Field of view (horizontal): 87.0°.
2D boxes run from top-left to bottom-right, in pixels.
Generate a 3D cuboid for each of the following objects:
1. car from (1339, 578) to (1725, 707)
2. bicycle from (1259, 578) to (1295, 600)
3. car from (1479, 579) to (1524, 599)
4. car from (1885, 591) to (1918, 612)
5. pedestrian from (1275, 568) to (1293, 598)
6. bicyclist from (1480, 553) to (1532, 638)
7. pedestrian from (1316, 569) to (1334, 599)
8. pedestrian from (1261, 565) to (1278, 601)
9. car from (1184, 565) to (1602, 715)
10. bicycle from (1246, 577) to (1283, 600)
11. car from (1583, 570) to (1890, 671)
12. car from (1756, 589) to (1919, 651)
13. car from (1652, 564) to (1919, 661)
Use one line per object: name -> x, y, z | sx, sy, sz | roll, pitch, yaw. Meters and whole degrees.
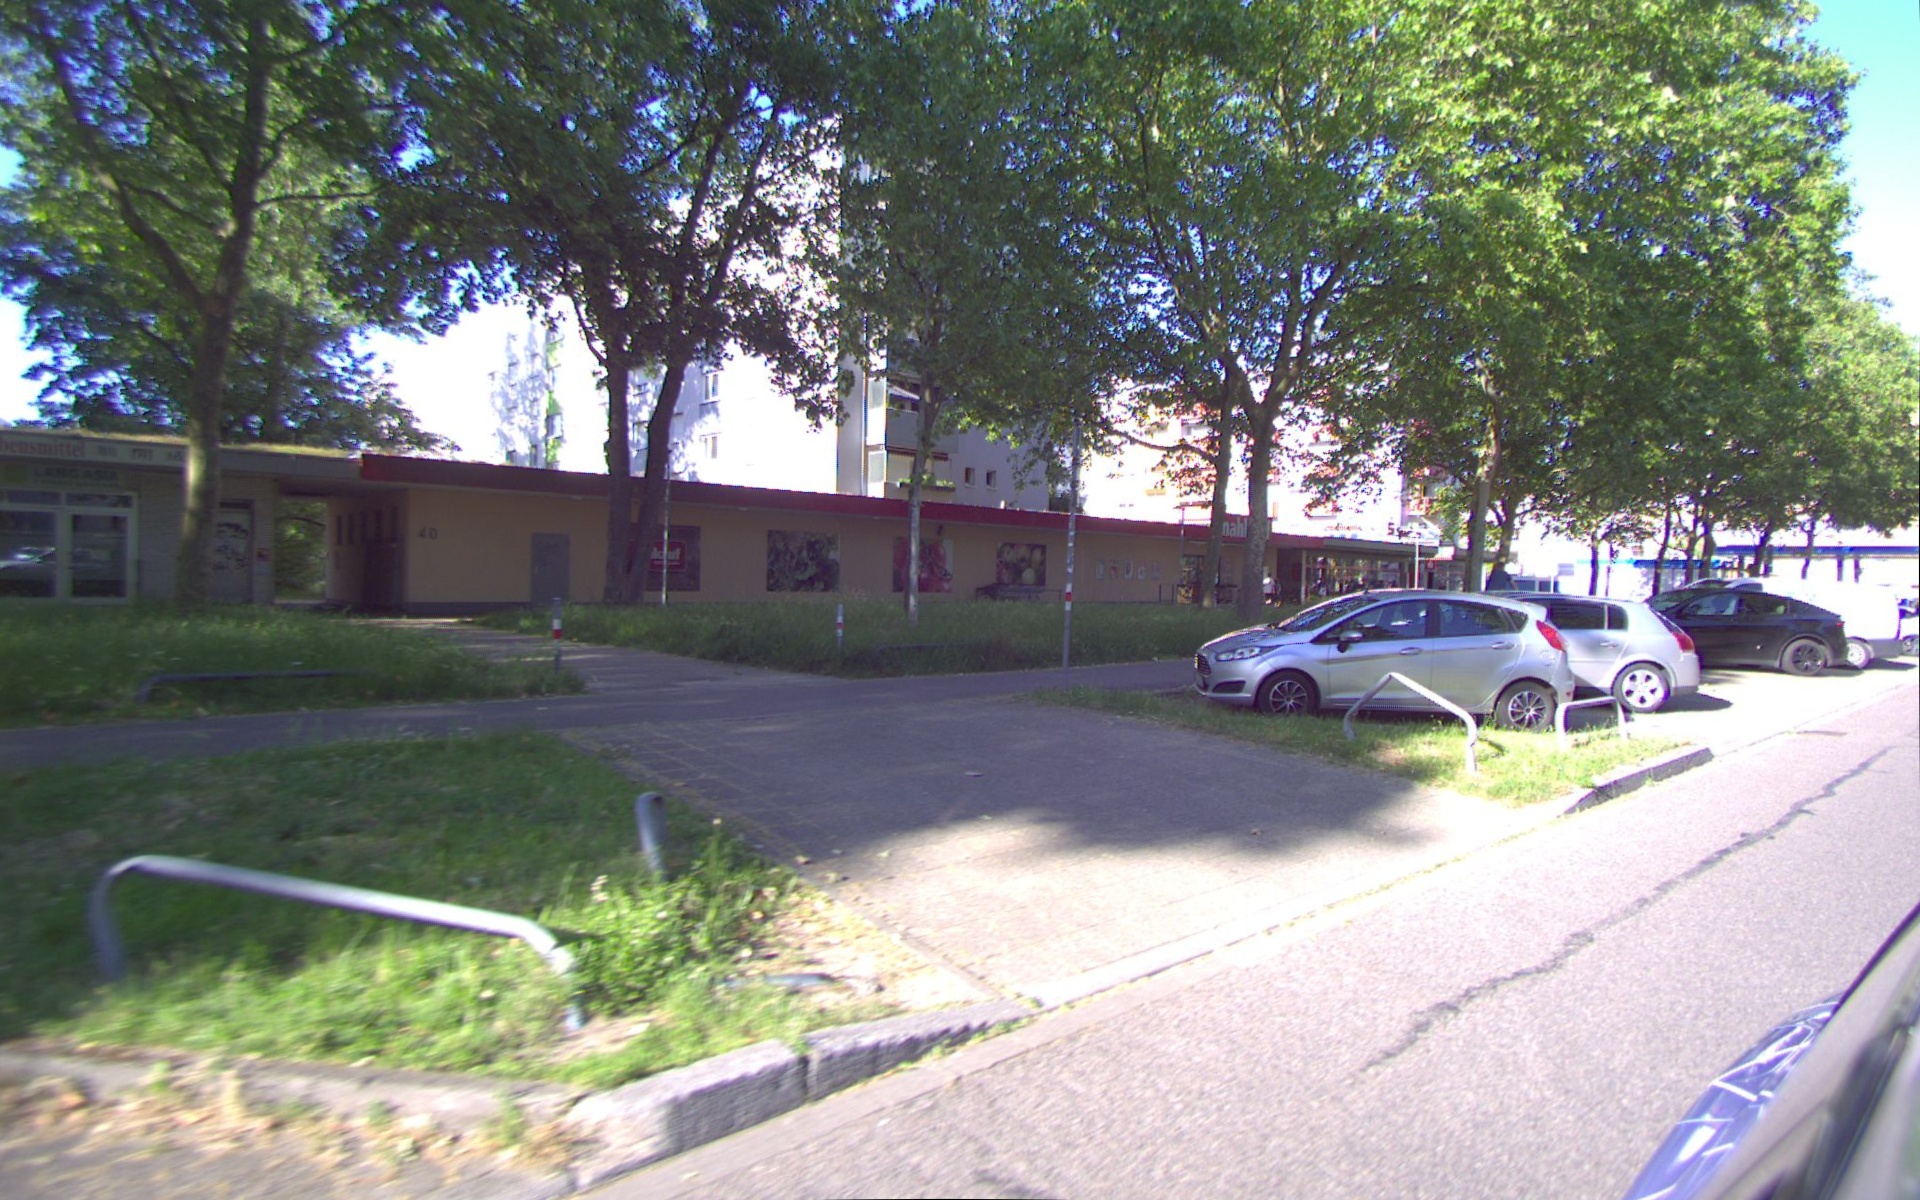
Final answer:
car -> 7.498, 0.502, 13.645 | 4.113, 1.429, 1.718 | 2, 2, 7
bicycle -> 17.172, -0.599, 54.835 | 1.812, 1.194, 0.600 | 0, 0, -19
car -> 43.115, -0.867, 80.526 | 4.043, 1.522, 1.872 | 0, 2, -42
car -> 71.582, 0.096, 76.917 | 1.721, 1.481, 3.942 | 3, 2, 44
pedestrian -> 15.935, -0.822, 49.795 | 0.531, 1.448, 0.704 | 2, 1, 44
bicyclist -> 11.687, -0.105, 21.646 | 1.005, 1.762, 0.624 | 0, 1, -40
pedestrian -> 19.842, -0.864, 54.981 | 0.671, 1.604, 0.704 | 2, 1, 44
pedestrian -> 15.277, -0.830, 49.904 | 0.495, 1.721, 0.704 | 2, 1, 44
car -> 4.583, 0.373, 11.181 | 3.868, 1.389, 1.586 | 2, 2, 4
bicycle -> 16.157, -0.591, 53.707 | 1.812, 1.194, 0.600 | 0, 0, -13
car -> 15.219, 0.343, 20.079 | 4.429, 1.726, 1.757 | 2, 2, 9
car -> 25.689, 0.571, 29.099 | 3.948, 1.487, 1.750 | 4, 3, 19
car -> 18.407, 0.223, 22.438 | 4.596, 1.875, 1.826 | 2, 2, 10
